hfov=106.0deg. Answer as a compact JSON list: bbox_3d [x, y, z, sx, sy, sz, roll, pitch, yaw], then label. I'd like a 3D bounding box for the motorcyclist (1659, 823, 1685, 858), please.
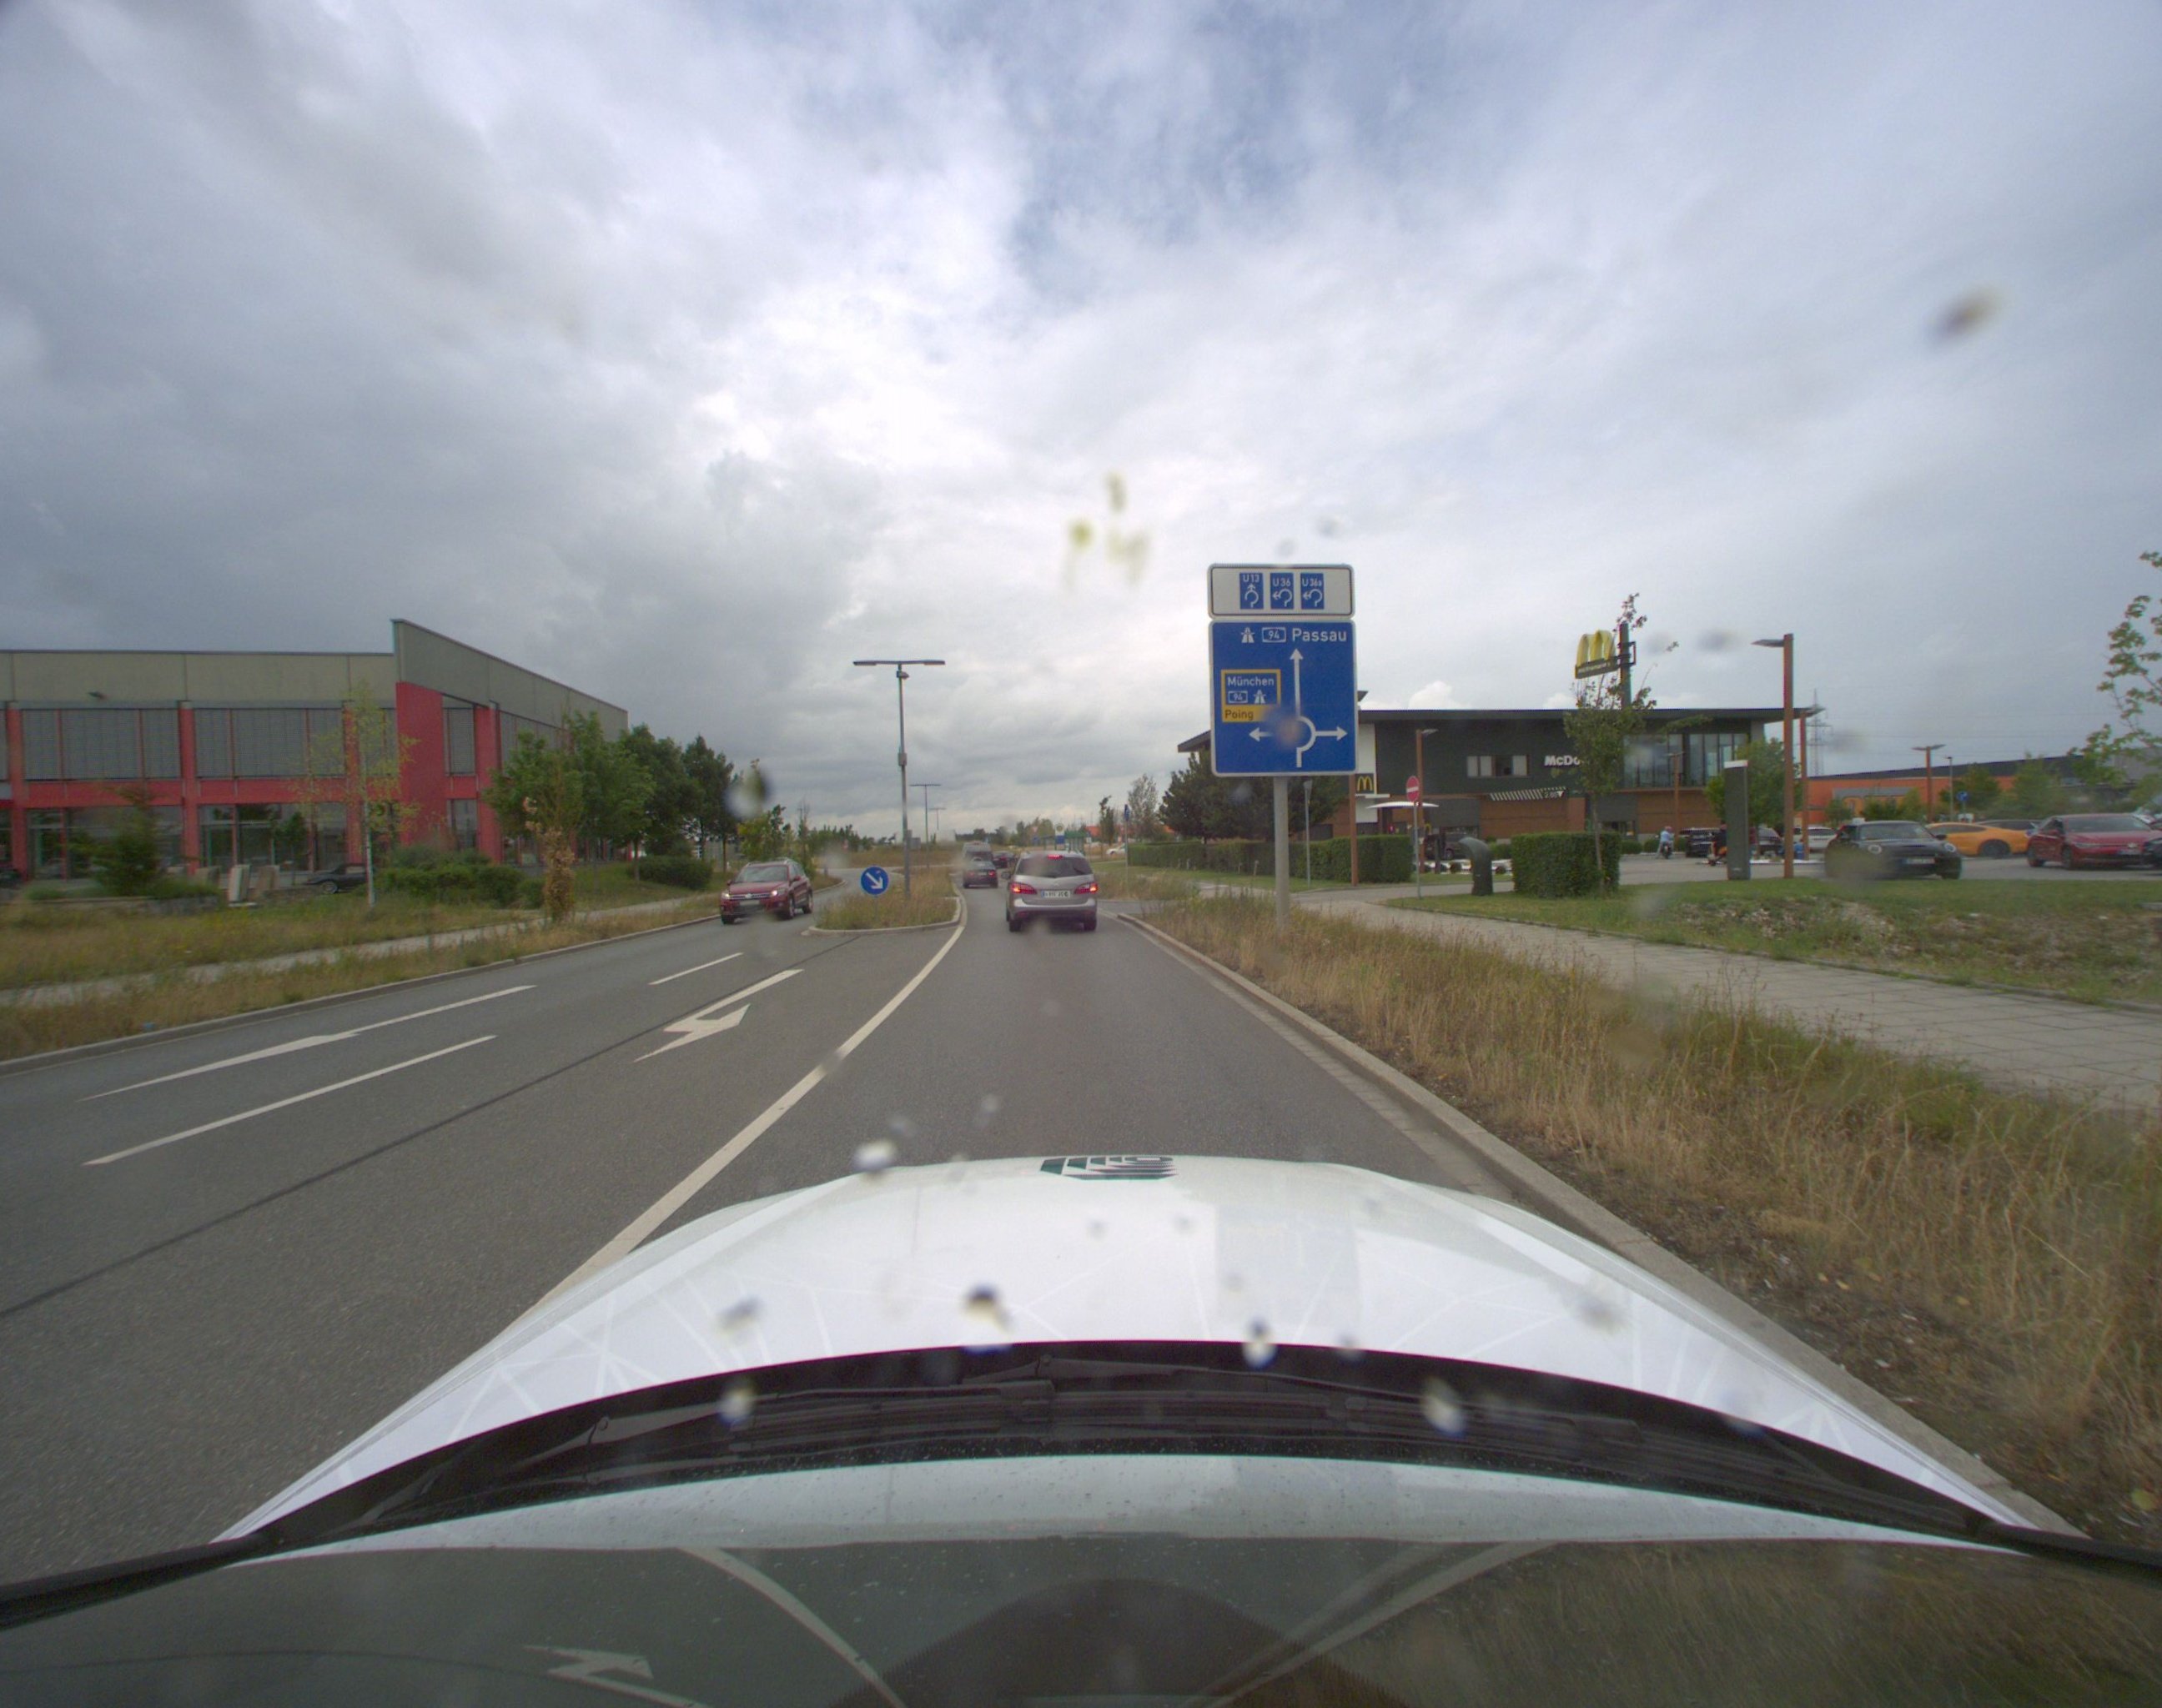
[{"bbox_3d":[31.357,-0.713,43.217,0.952,1.832,0.850,-1,0,28],"label":"motorcyclist"}]

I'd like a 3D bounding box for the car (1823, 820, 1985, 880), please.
[{"bbox_3d":[20.018,-0.119,20.025,1.794,1.313,3.874,-2,1,30],"label":"car"}]

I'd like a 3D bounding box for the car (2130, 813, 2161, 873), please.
[{"bbox_3d":[24.816,-0.270,17.241,1.534,1.309,3.053,-1,0,-42],"label":"car"}]

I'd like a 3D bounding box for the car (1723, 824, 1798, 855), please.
[{"bbox_3d":[37.230,-0.762,44.773,1.976,1.581,4.021,-1,0,21],"label":"car"}]

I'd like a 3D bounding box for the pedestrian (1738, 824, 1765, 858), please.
[{"bbox_3d":[28.477,-0.544,34.578,0.627,1.439,0.761,-2,0,-40],"label":"pedestrian"}]

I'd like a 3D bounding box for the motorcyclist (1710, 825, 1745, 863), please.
[{"bbox_3d":[23.821,-0.369,30.023,0.772,1.334,0.901,-2,0,21],"label":"motorcyclist"}]

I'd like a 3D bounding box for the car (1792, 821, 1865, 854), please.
[{"bbox_3d":[41.443,-0.930,45.125,4.014,1.722,1.980,-1,0,-32],"label":"car"}]

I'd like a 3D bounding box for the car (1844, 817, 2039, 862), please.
[{"bbox_3d":[32.030,-0.508,30.556,4.672,1.443,2.013,-2,0,33],"label":"car"}]

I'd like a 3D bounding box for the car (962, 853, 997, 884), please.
[{"bbox_3d":[-6.436,0.865,51.563,2.056,1.826,4.774,-2,0,-7],"label":"car"}]

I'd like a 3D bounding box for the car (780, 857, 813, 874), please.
[{"bbox_3d":[-27.097,1.136,77.422,1.856,1.407,3.956,-4,0,-36],"label":"car"}]

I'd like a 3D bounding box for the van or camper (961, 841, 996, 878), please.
[{"bbox_3d":[-7.424,0.364,59.414,2.299,2.506,5.195,-1,0,-6],"label":"van or camper"}]

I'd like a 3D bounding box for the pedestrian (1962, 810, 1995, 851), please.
[{"bbox_3d":[36.196,-0.943,32.854,0.676,1.627,0.746,-1,0,28],"label":"pedestrian"}]

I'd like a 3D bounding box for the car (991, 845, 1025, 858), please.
[{"bbox_3d":[-9.524,-0.365,106.389,3.949,1.515,2.012,-2,0,28],"label":"car"}]

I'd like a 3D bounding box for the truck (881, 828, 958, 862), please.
[{"bbox_3d":[-20.263,-1.171,102.673,9.300,3.906,3.134,-2,0,-9],"label":"truck"}]

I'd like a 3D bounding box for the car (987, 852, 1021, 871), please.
[{"bbox_3d":[-6.678,0.649,70.842,1.982,1.515,4.010,-2,0,9],"label":"car"}]

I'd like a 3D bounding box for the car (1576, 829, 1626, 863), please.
[{"bbox_3d":[27.827,-0.417,43.702,2.095,1.717,4.257,-1,0,31],"label":"car"}]

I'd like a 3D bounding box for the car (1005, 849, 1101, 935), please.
[{"bbox_3d":[-0.703,0.706,17.262,1.728,1.600,3.798,-1,0,-7],"label":"car"}]

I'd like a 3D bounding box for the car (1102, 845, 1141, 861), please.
[{"bbox_3d":[4.785,-0.155,97.446,4.586,1.757,2.000,-2,0,0],"label":"car"}]

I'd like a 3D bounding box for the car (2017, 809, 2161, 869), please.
[{"bbox_3d":[26.841,-0.410,21.432,1.980,1.429,4.181,-2,1,36],"label":"car"}]

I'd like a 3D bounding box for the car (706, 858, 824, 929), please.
[{"bbox_3d":[-8.774,1.012,23.039,1.795,1.669,4.320,-4,0,-4],"label":"car"}]

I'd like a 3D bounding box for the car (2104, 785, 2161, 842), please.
[{"bbox_3d":[50.669,-1.906,36.263,5.969,2.528,2.296,-2,0,40],"label":"car"}]

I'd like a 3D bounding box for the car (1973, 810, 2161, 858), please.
[{"bbox_3d":[38.921,-0.768,32.089,4.672,1.656,2.013,-2,0,31],"label":"car"}]

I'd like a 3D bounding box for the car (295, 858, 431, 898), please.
[{"bbox_3d":[-31.517,1.027,35.957,4.409,1.552,1.977,-1,0,-39],"label":"car"}]

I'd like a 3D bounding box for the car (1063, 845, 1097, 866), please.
[{"bbox_3d":[-0.071,0.139,85.115,1.976,2.013,4.648,-2,0,21],"label":"car"}]

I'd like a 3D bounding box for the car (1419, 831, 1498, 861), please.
[{"bbox_3d":[23.245,-0.487,50.219,3.987,1.717,1.993,-1,0,-10],"label":"car"}]

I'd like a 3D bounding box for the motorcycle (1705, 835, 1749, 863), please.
[{"bbox_3d":[23.846,-0.188,30.100,0.732,0.985,1.833,-2,0,22],"label":"motorcycle"}]

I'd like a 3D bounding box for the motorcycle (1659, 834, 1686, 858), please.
[{"bbox_3d":[31.402,-0.409,43.261,0.848,1.244,1.978,-1,0,28],"label":"motorcycle"}]

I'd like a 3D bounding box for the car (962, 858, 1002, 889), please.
[{"bbox_3d":[-5.096,0.957,41.606,1.844,1.418,4.212,-2,0,-9],"label":"car"}]

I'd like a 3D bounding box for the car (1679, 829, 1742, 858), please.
[{"bbox_3d":[34.146,-0.576,44.295,1.768,1.497,4.022,-1,0,23],"label":"car"}]
